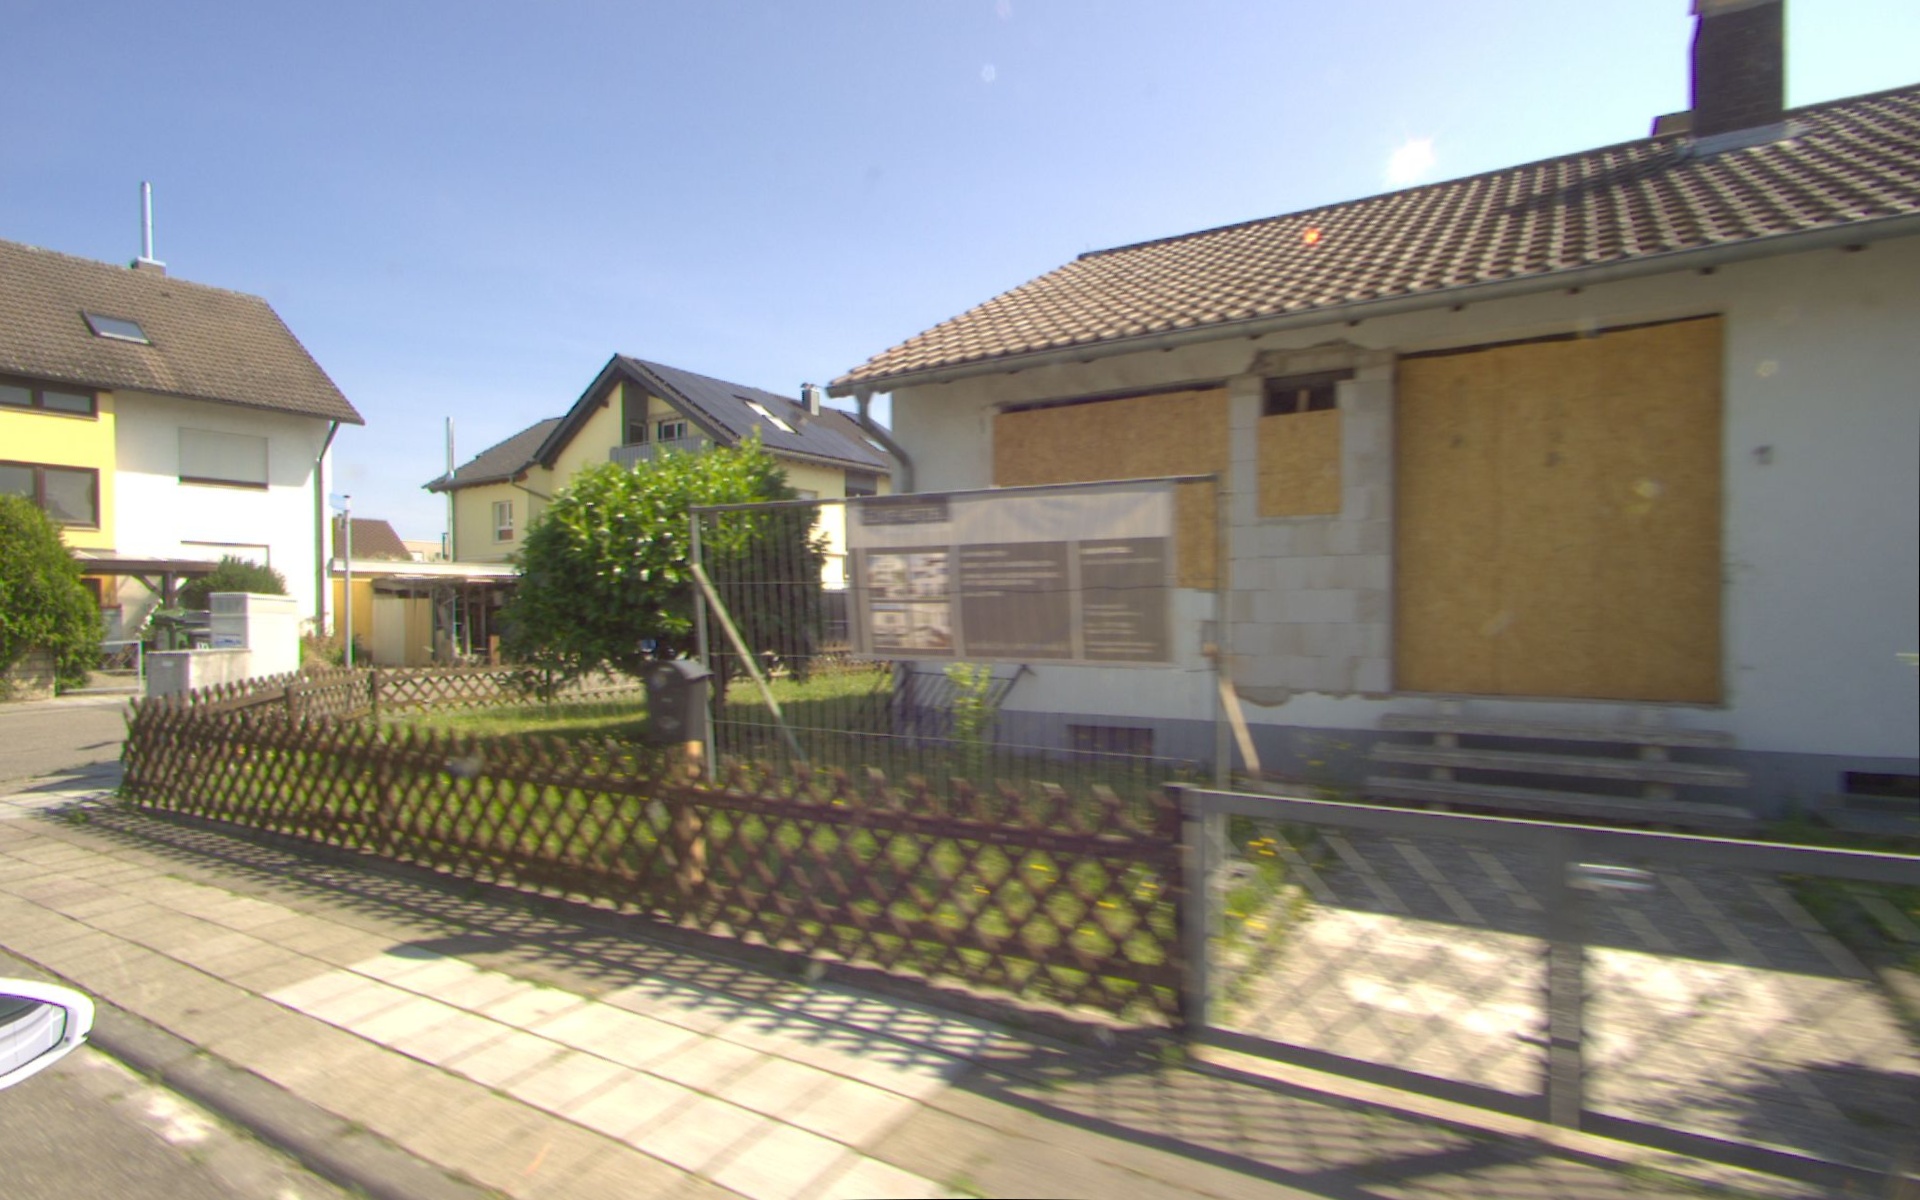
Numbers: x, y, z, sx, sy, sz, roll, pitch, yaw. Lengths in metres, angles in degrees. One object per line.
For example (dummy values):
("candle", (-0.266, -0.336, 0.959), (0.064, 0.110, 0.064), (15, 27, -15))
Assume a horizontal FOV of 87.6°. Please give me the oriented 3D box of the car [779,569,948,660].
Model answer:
("car", (-2.207, 0.346, 23.926), (1.845, 1.963, 4.182), (-1, -1, 32))
